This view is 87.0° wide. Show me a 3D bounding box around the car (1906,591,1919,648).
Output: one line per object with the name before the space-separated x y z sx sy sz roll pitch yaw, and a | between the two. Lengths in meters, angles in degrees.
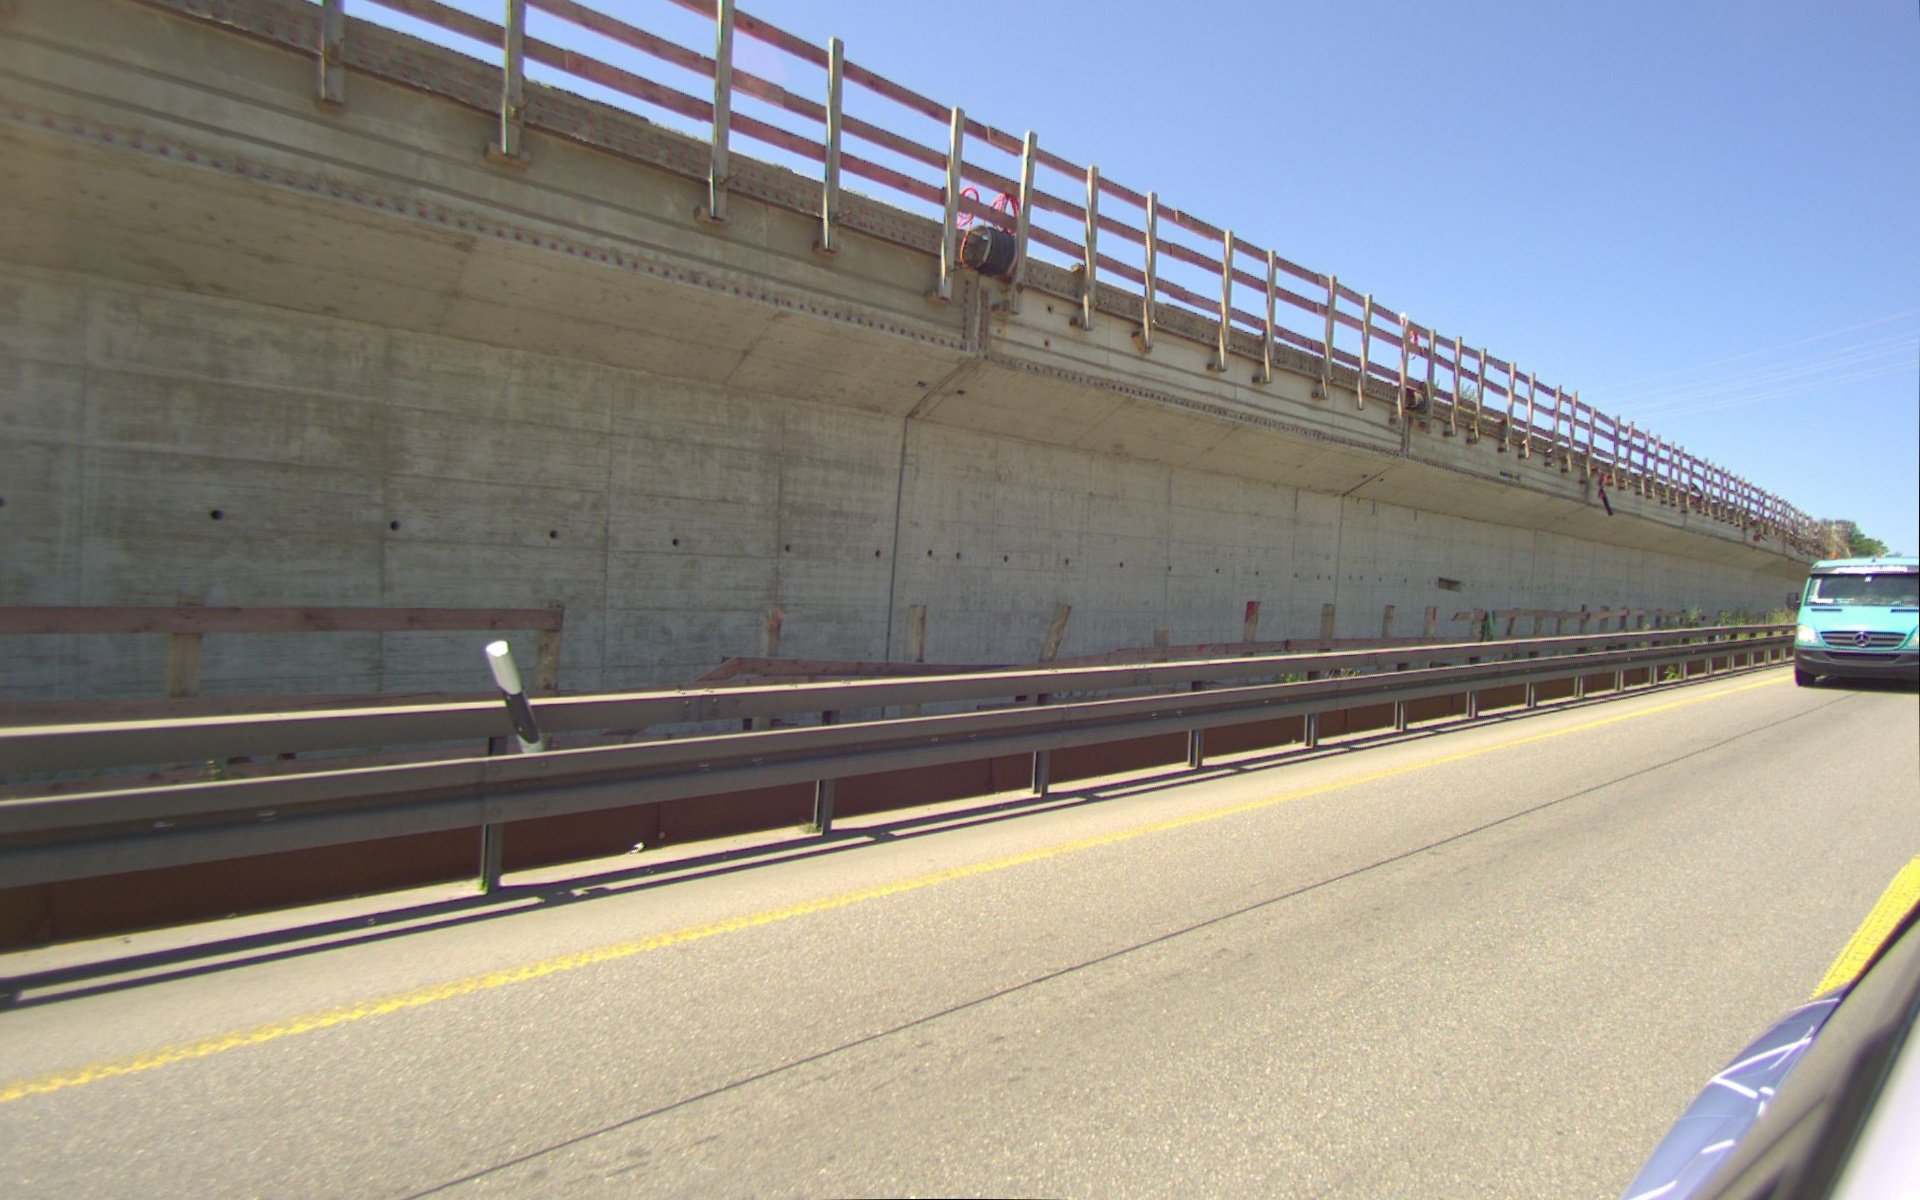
car | 30.420 0.565 31.010 3.933 1.681 1.856 -1 -1 -44

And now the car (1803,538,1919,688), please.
car | 17.706 0.200 18.980 7.087 2.411 1.966 0 1 -42
